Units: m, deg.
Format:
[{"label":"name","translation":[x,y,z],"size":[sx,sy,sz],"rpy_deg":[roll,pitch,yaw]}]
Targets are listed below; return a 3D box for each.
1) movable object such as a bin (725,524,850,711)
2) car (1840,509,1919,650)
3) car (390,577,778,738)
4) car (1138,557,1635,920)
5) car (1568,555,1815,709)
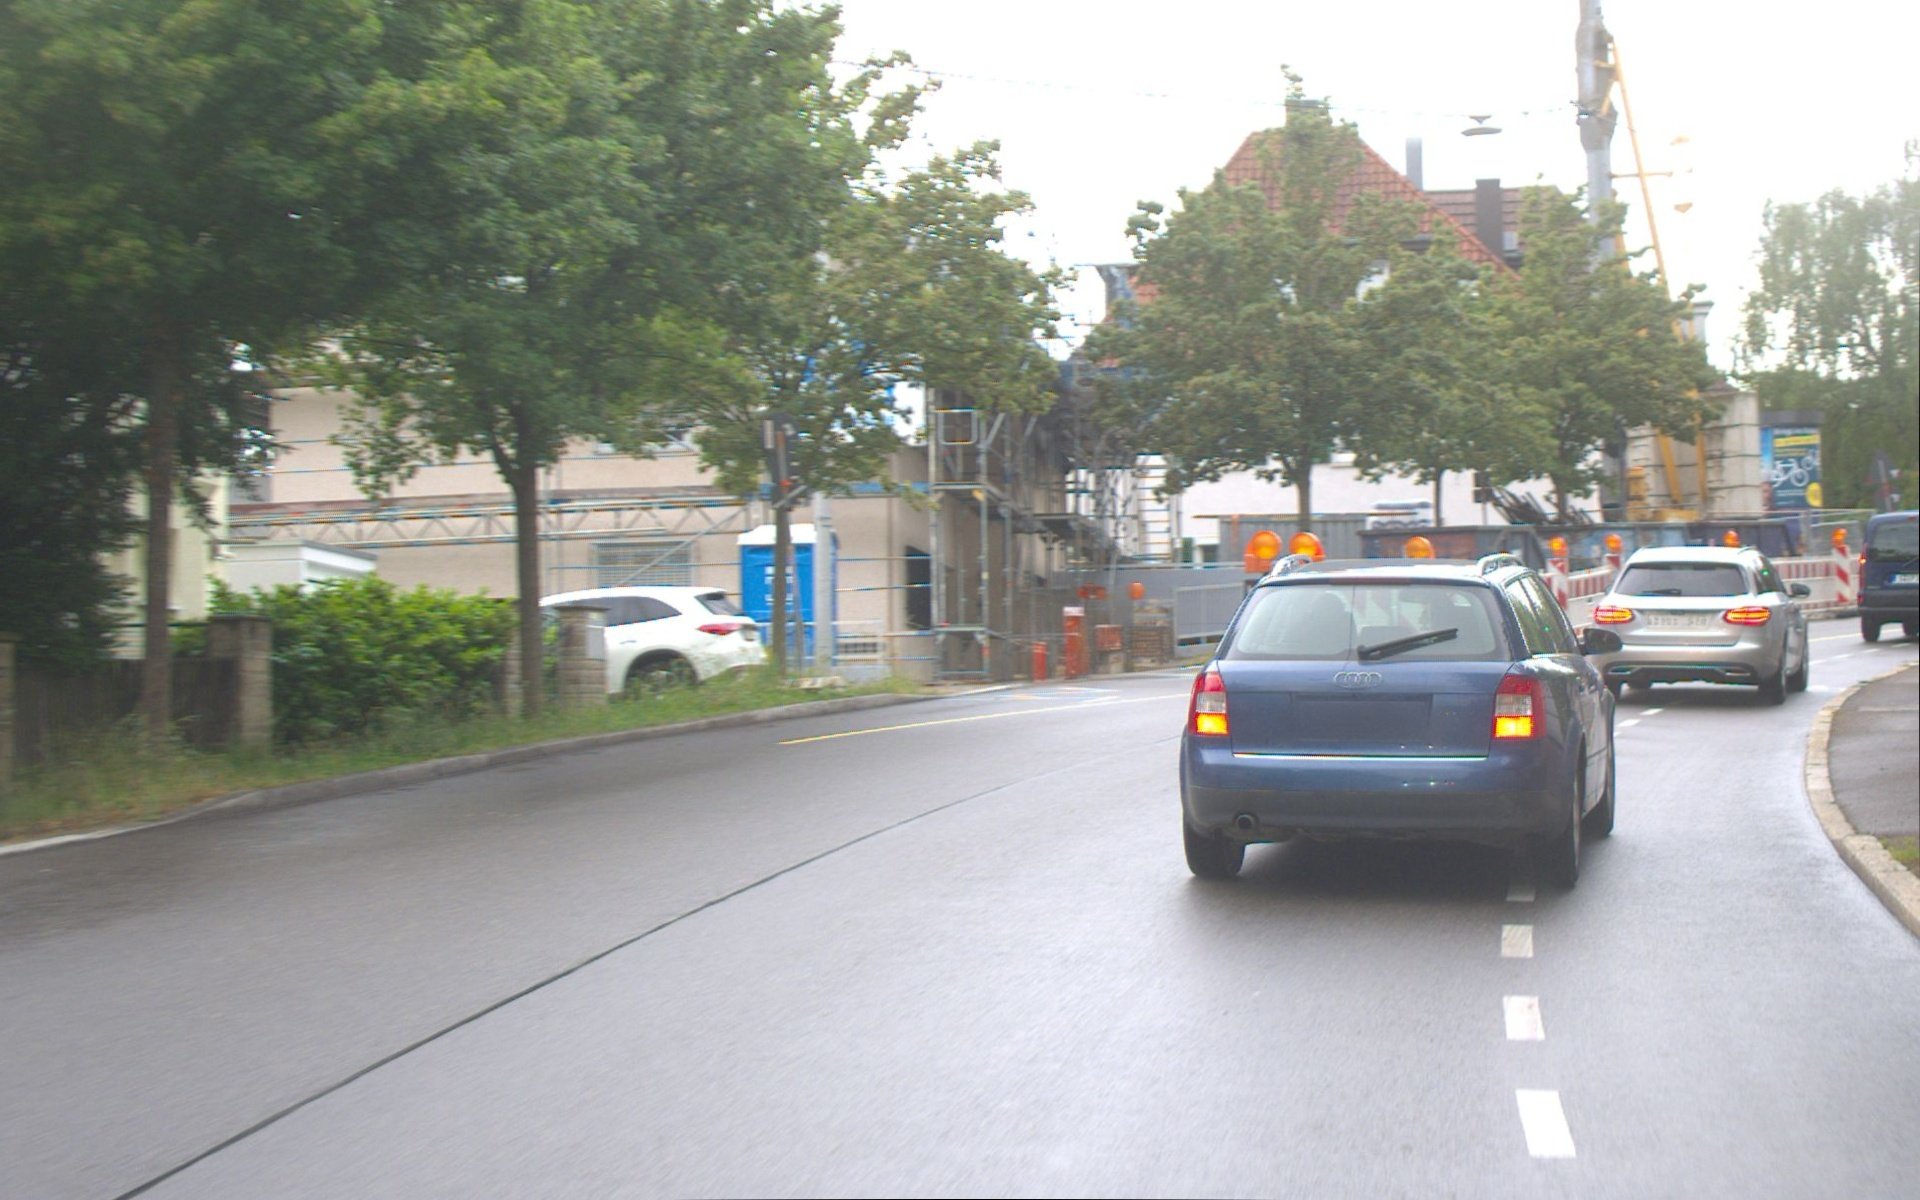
[{"label":"movable object such as a bin","translation":[-2.360,0.224,47.169],"size":[1.313,2.497,1.385],"rpy_deg":[-2,0,12]},{"label":"car","translation":[13.960,-0.347,49.298],"size":[1.733,1.888,4.050],"rpy_deg":[-4,0,26]},{"label":"car","translation":[-4.521,0.691,41.627],"size":[4.198,1.599,1.950],"rpy_deg":[-4,-1,10]},{"label":"car","translation":[2.129,0.538,16.167],"size":[1.778,1.434,3.997],"rpy_deg":[1,1,15]},{"label":"car","translation":[7.142,0.261,33.253],"size":[1.910,1.383,4.347],"rpy_deg":[0,1,18]}]
